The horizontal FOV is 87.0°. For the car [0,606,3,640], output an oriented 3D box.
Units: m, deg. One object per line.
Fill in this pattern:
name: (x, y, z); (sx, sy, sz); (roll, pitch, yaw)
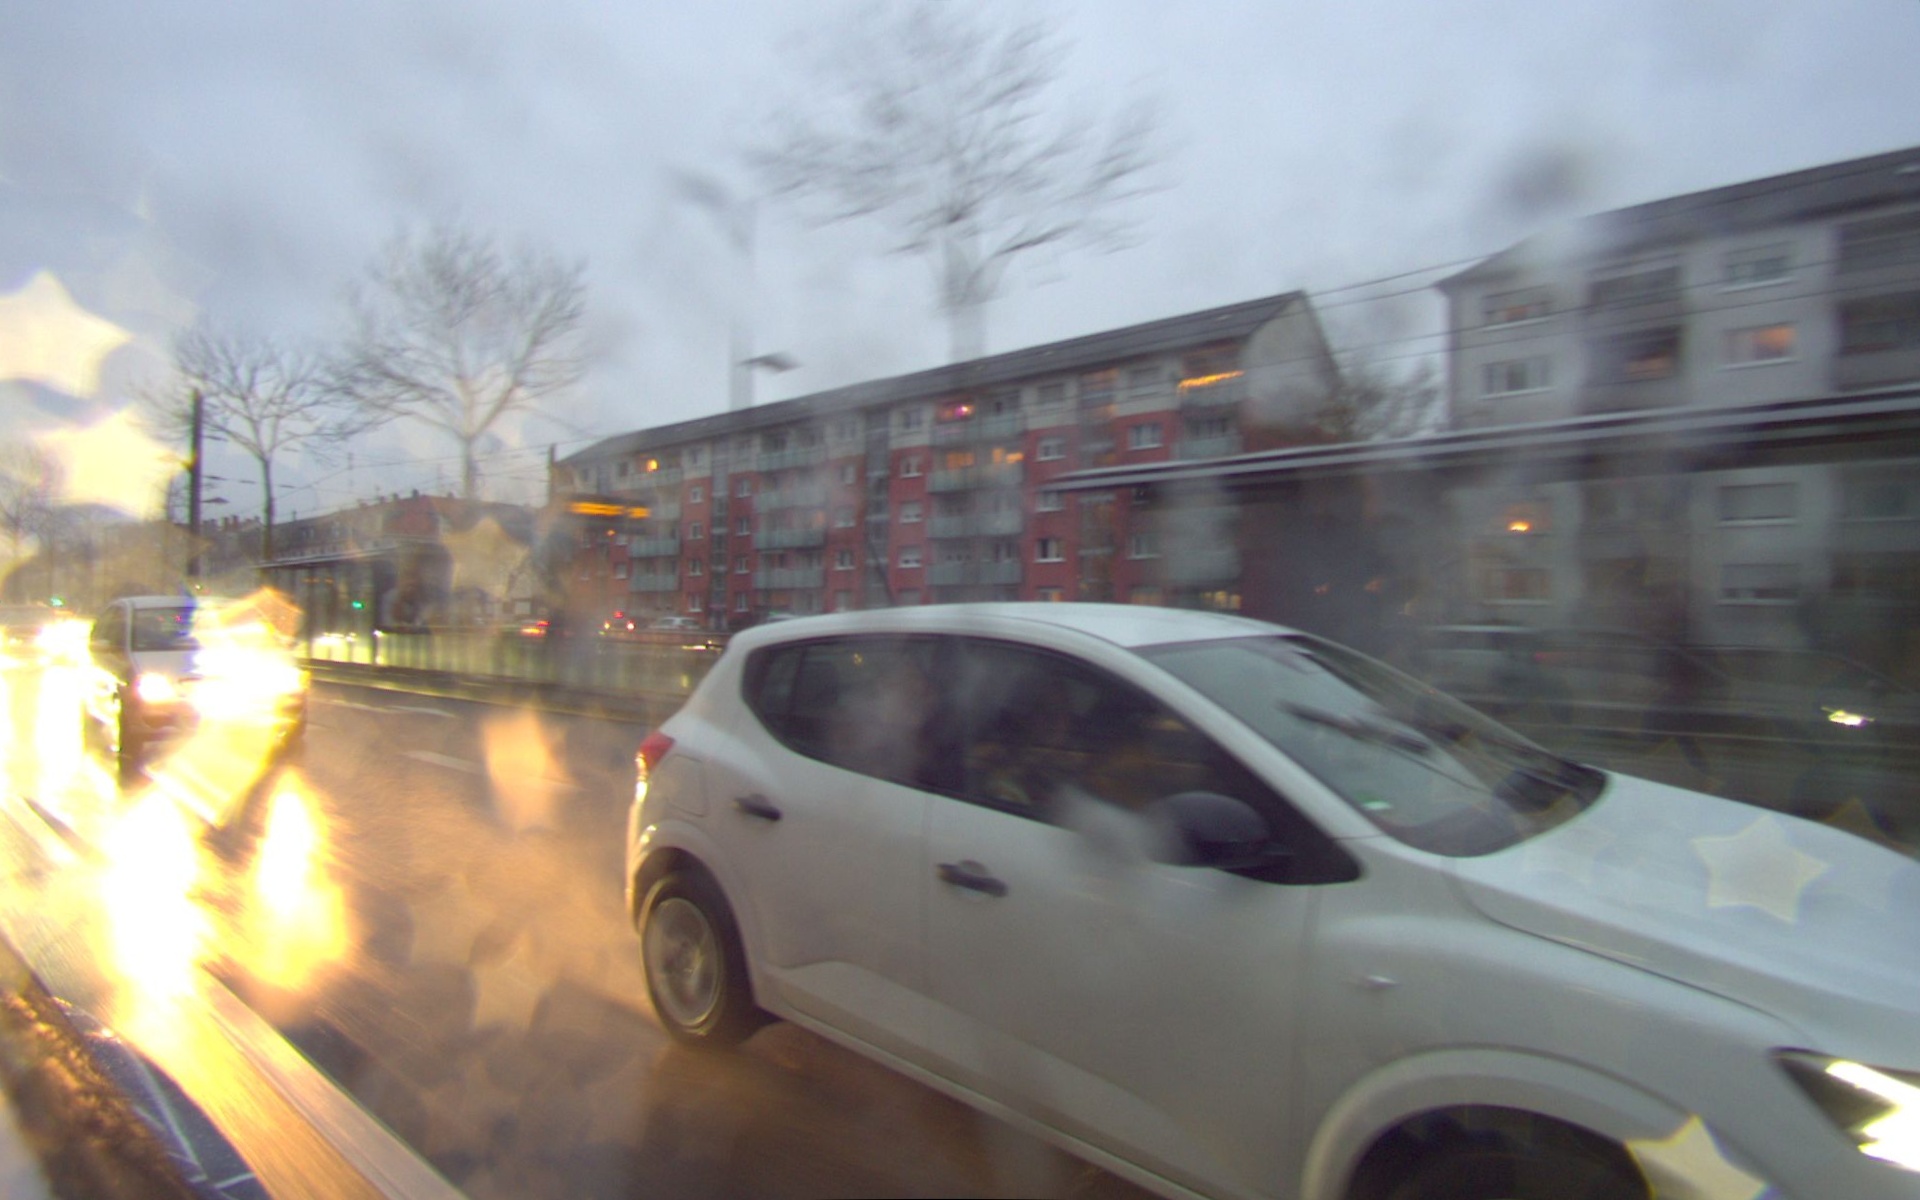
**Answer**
car: (-49.616, 1.124, 50.989); (3.752, 1.669, 1.688); (1, 0, 41)

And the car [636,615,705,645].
car: (-16.263, 1.661, 56.726); (4.147, 1.555, 1.707); (1, 0, 40)

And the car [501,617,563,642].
car: (-25.306, 1.723, 59.746); (4.214, 1.302, 1.760); (1, 0, 42)

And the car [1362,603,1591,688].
car: (10.286, 0.826, 20.322); (3.760, 1.508, 1.739); (1, 0, 44)

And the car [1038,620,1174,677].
car: (4.362, 1.413, 30.500); (3.758, 1.508, 1.740); (1, 0, 42)

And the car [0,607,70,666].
car: (-26.052, 0.969, 27.692); (4.087, 1.513, 1.951); (-1, -1, 40)

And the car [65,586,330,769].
car: (-8.774, 0.706, 11.507); (1.992, 1.690, 4.004); (0, 0, -43)

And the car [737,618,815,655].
car: (-9.256, 1.785, 50.809); (4.151, 1.658, 1.706); (1, 0, 43)

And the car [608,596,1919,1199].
car: (0.795, 0.746, 2.861); (4.000, 1.477, 1.690); (1, 0, 42)

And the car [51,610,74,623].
car: (-118.658, 2.158, 133.789); (3.744, 1.651, 1.508); (0, -1, 38)

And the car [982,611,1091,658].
car: (2.990, 1.321, 39.988); (4.151, 1.658, 1.706); (1, 0, 43)
